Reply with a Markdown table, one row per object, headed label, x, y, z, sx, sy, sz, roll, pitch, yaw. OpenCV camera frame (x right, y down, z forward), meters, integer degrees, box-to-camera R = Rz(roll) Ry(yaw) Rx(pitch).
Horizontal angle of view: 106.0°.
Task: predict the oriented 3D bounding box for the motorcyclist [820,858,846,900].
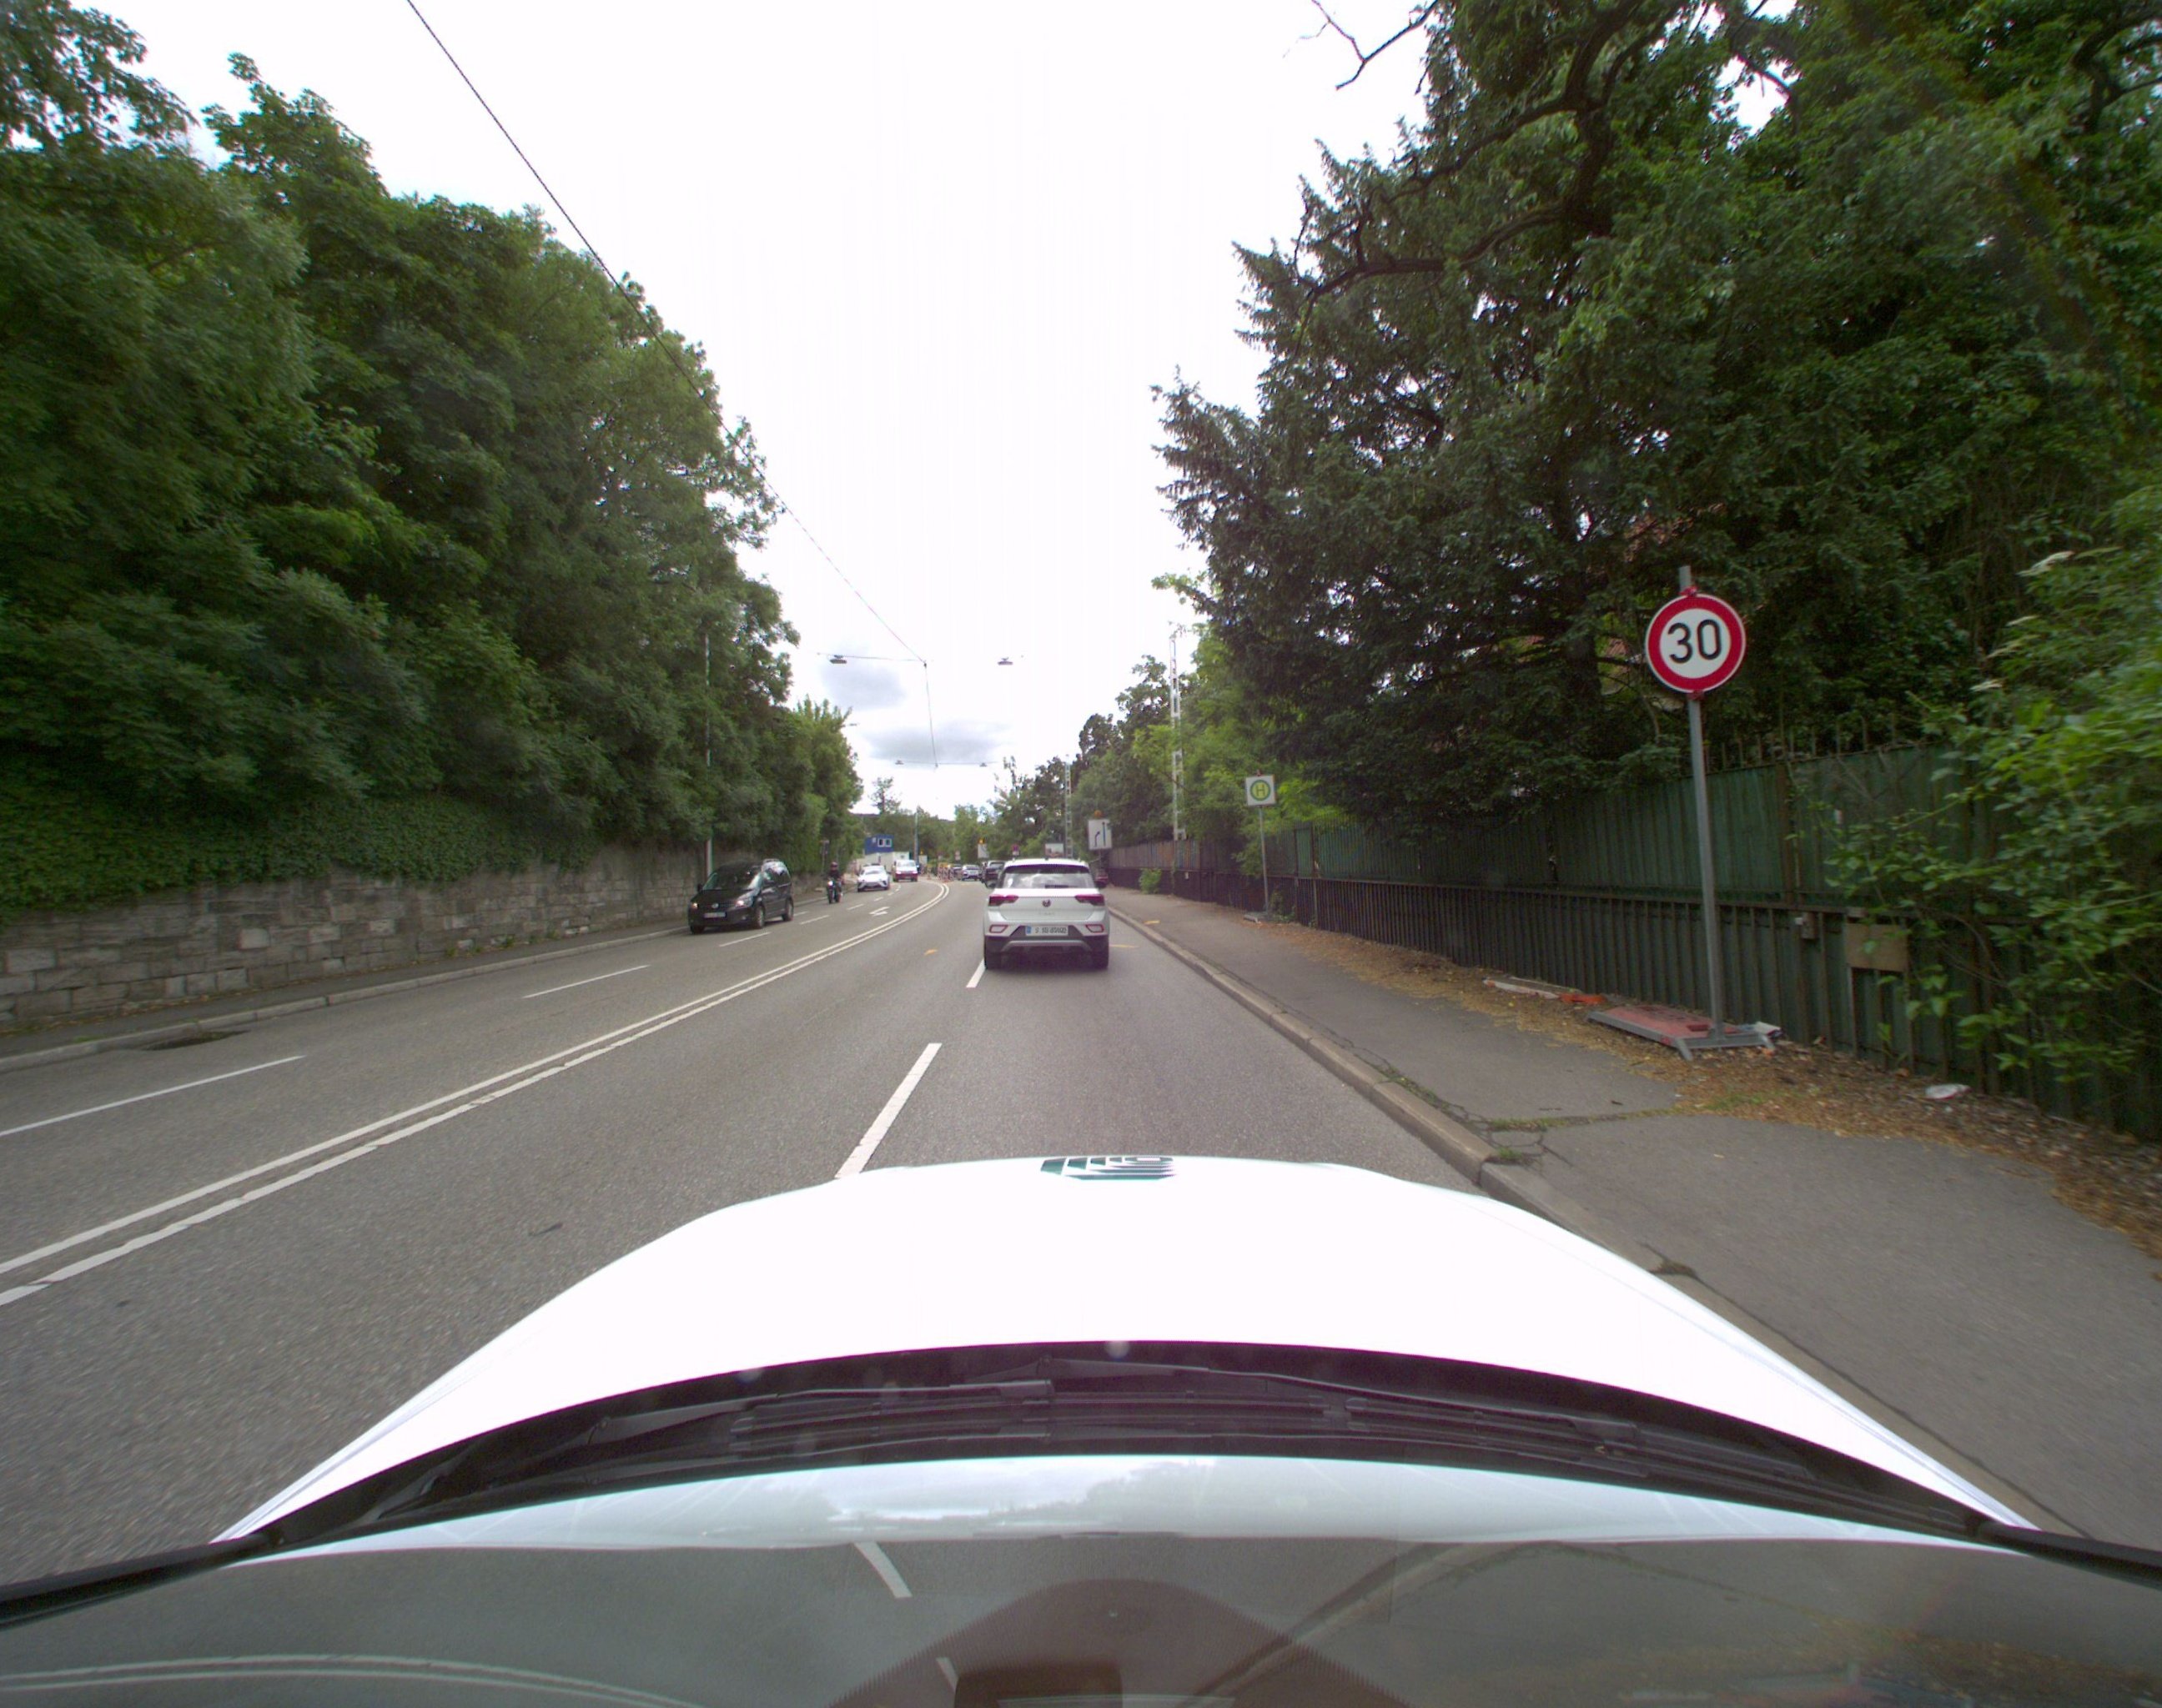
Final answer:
| label | x | y | z | sx | sy | sz | roll | pitch | yaw |
| --- | --- | --- | --- | --- | --- | --- | --- | --- | --- |
| motorcyclist | -10.564 | 1.041 | 34.731 | 0.647 | 1.705 | 1.336 | -4 | 0 | -3 |

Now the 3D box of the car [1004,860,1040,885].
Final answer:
| label | x | y | z | sx | sy | sz | roll | pitch | yaw |
| --- | --- | --- | --- | --- | --- | --- | --- | --- | --- |
| car | -3.719 | 1.146 | 50.444 | 1.992 | 1.414 | 4.140 | -3 | -1 | -7 |

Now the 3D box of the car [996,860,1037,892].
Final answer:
| label | x | y | z | sx | sy | sz | roll | pitch | yaw |
| --- | --- | --- | --- | --- | --- | --- | --- | --- | --- |
| car | -3.208 | 1.082 | 40.060 | 1.757 | 1.471 | 3.783 | -1 | -1 | -9 |

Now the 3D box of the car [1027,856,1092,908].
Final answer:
| label | x | y | z | sx | sy | sz | roll | pitch | yaw |
| --- | --- | --- | --- | --- | --- | --- | --- | --- | --- |
| car | -0.802 | 0.906 | 27.477 | 1.757 | 1.609 | 3.784 | -1 | -1 | -8 |

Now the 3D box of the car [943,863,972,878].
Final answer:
| label | x | y | z | sx | sy | sz | roll | pitch | yaw |
| --- | --- | --- | --- | --- | --- | --- | --- | --- | --- |
| car | -12.506 | 1.666 | 82.386 | 2.001 | 1.450 | 4.120 | -2 | -1 | -21 |

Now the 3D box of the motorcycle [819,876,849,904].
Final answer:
| label | x | y | z | sx | sy | sz | roll | pitch | yaw |
| --- | --- | --- | --- | --- | --- | --- | --- | --- | --- |
| motorcycle | -10.588 | 1.529 | 34.970 | 0.648 | 1.073 | 2.305 | -4 | 0 | -3 |

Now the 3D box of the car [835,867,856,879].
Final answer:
| label | x | y | z | sx | sy | sz | roll | pitch | yaw |
| --- | --- | --- | --- | --- | --- | --- | --- | --- | --- |
| car | -30.583 | 2.436 | 105.776 | 1.906 | 1.382 | 3.965 | -2 | 0 | -27 |

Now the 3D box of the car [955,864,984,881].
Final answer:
| label | x | y | z | sx | sy | sz | roll | pitch | yaw |
| --- | --- | --- | --- | --- | --- | --- | --- | --- | --- |
| car | -9.932 | 1.640 | 72.456 | 1.998 | 1.450 | 4.128 | -2 | -1 | -16 |

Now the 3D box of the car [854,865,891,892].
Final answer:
| label | x | y | z | sx | sy | sz | roll | pitch | yaw |
| --- | --- | --- | --- | --- | --- | --- | --- | --- | --- |
| car | -12.797 | 1.464 | 50.180 | 1.783 | 1.466 | 4.087 | -4 | -1 | -10 |

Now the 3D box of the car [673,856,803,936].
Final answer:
| label | x | y | z | sx | sy | sz | roll | pitch | yaw |
| --- | --- | --- | --- | --- | --- | --- | --- | --- | --- |
| car | -9.267 | 1.055 | 22.383 | 1.739 | 1.845 | 4.246 | -4 | 0 | -2 |

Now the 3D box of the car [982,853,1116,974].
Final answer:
| label | x | y | z | sx | sy | sz | roll | pitch | yaw |
| --- | --- | --- | --- | --- | --- | --- | --- | --- | --- |
| car | -0.607 | 0.811 | 12.633 | 1.755 | 1.556 | 3.787 | -1 | -1 | -6 |

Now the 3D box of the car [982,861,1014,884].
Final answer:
| label | x | y | z | sx | sy | sz | roll | pitch | yaw |
| --- | --- | --- | --- | --- | --- | --- | --- | --- | --- |
| car | -6.148 | 1.330 | 60.153 | 1.994 | 1.556 | 4.135 | -1 | 0 | -11 |
